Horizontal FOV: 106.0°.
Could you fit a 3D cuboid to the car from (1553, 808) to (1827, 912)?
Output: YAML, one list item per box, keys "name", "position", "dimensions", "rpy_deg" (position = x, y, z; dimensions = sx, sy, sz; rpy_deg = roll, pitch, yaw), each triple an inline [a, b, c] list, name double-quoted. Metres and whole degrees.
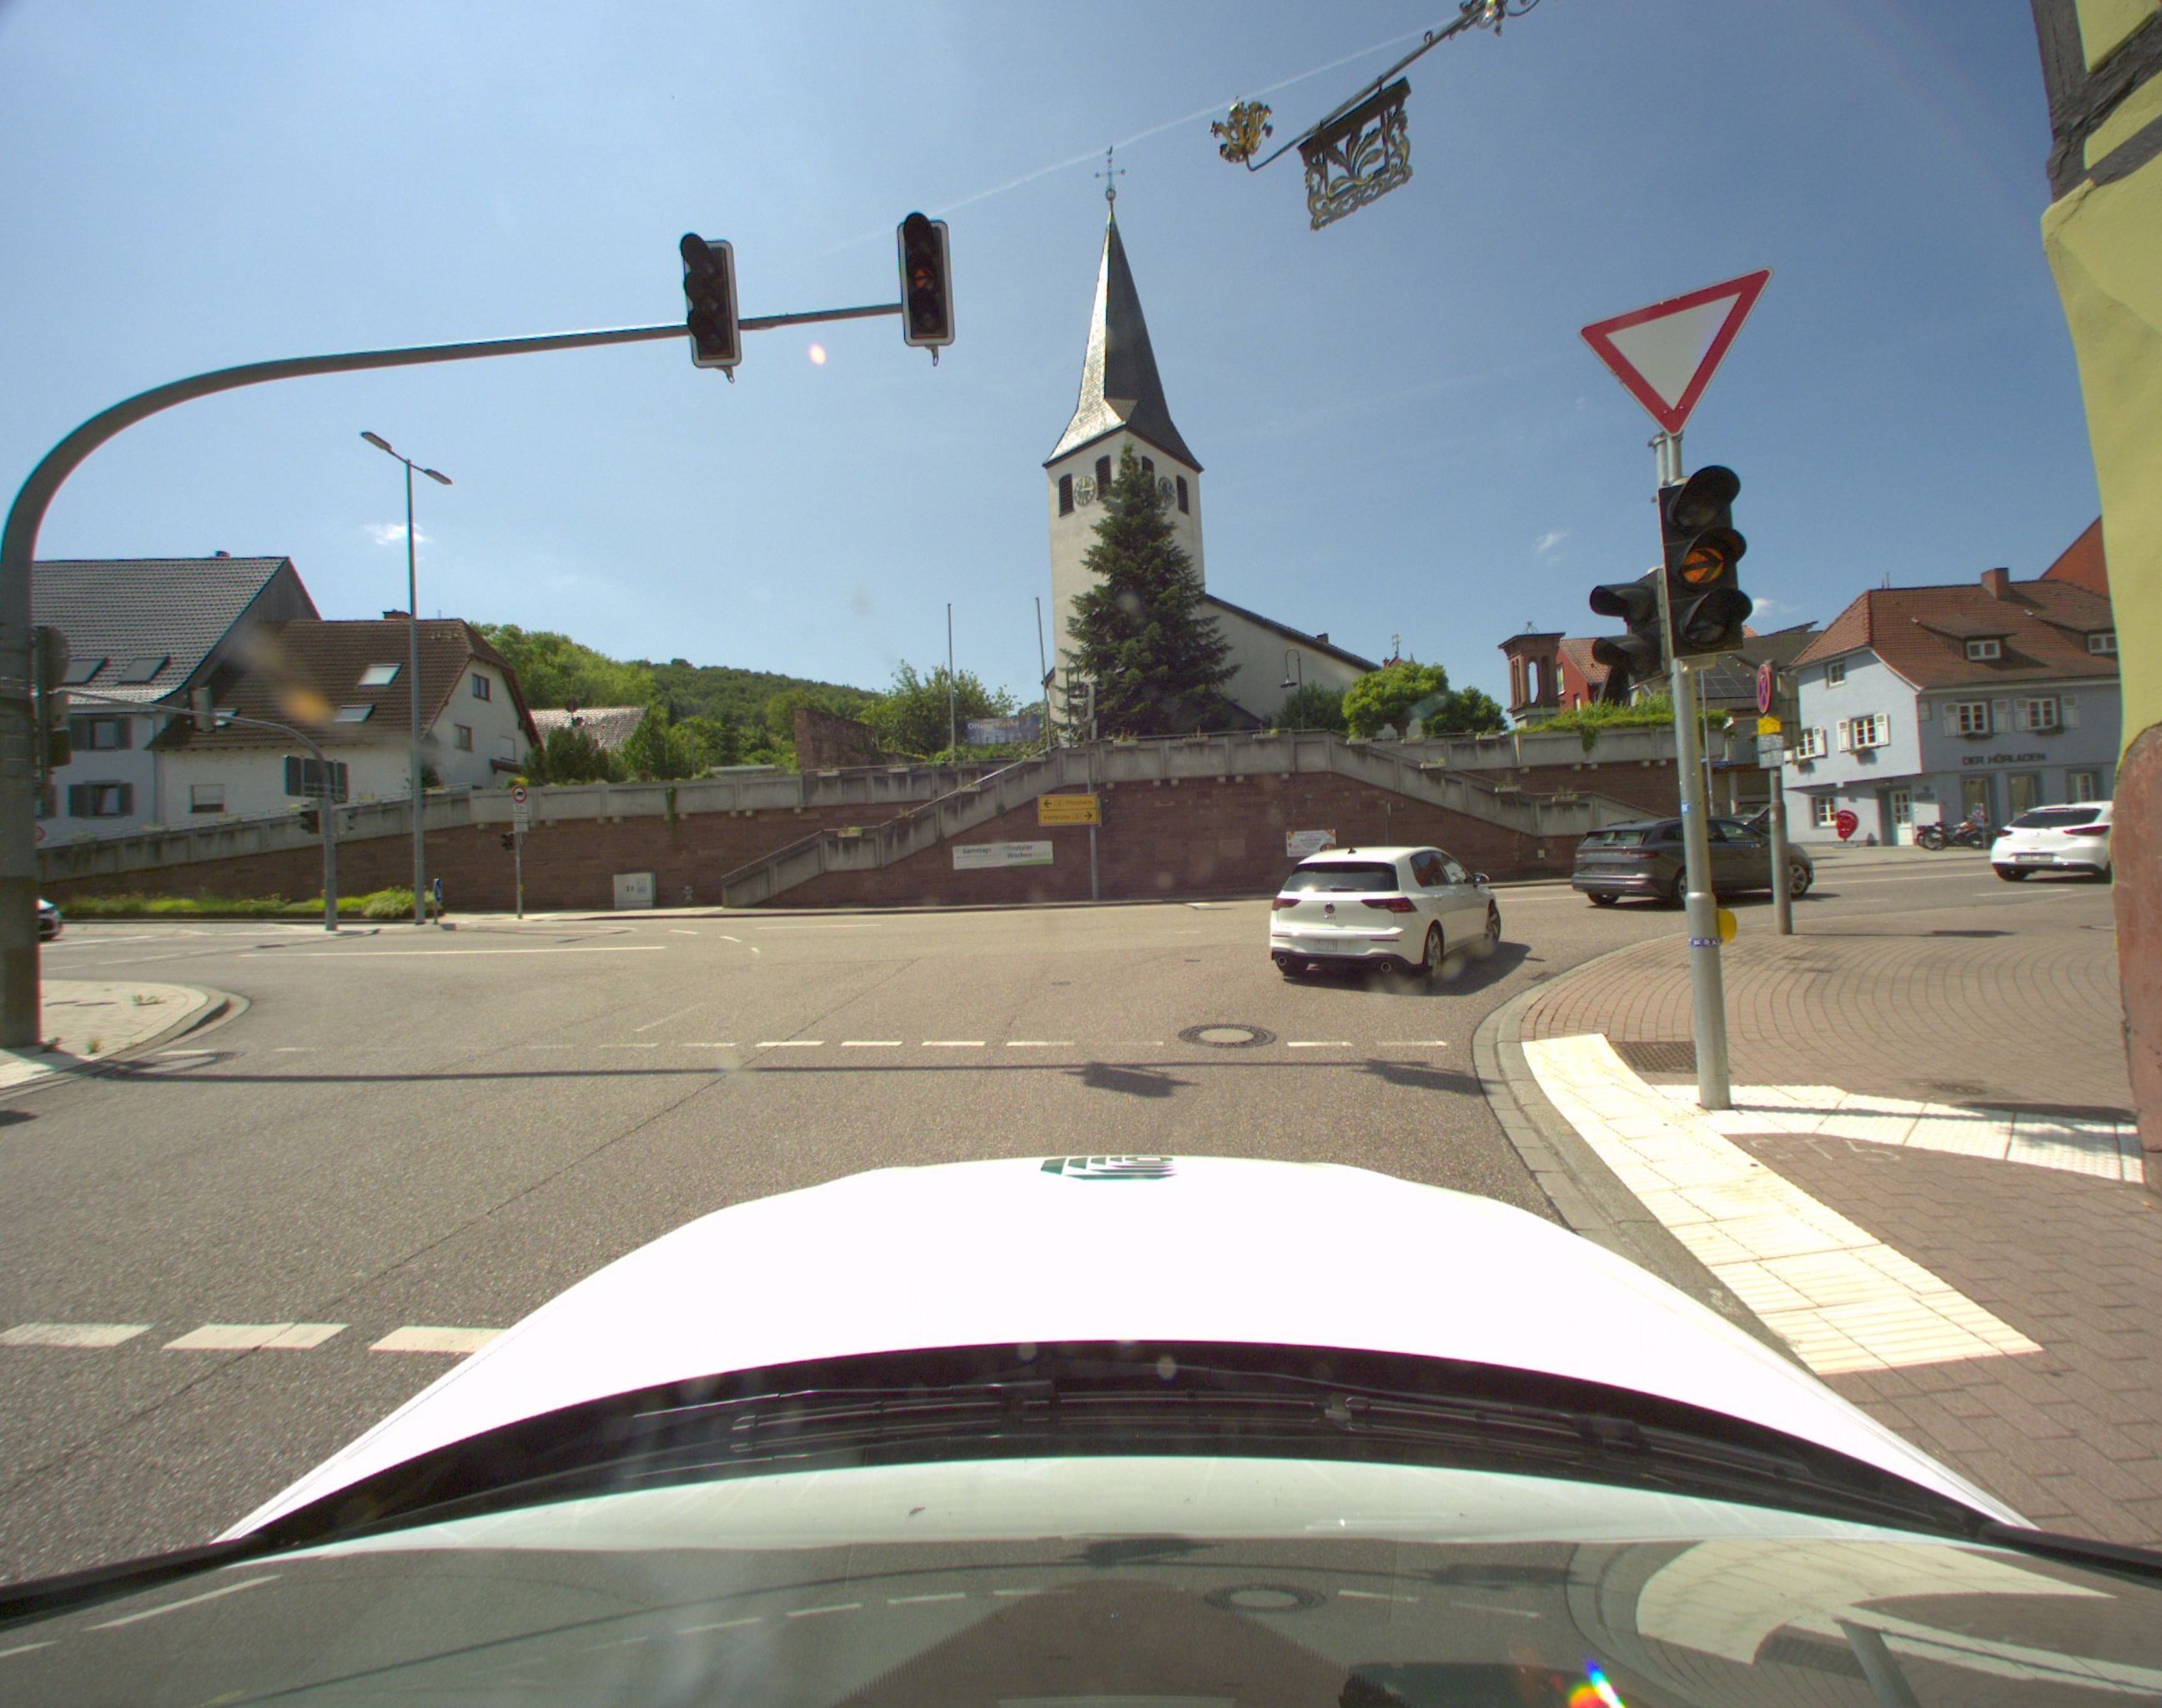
- name: "car"
  position: [11.437, 0.071, 15.346]
  dimensions: [4.323, 1.582, 1.944]
  rpy_deg: [-3, 1, -17]

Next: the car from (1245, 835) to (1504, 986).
- name: "car"
  position: [3.744, 0.548, 9.978]
  dimensions: [1.765, 1.458, 3.888]
  rpy_deg: [-3, -1, 39]

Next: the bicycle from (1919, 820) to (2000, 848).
- name: "bicycle"
  position: [30.153, -0.680, 27.990]
  dimensions: [1.799, 0.899, 0.627]
  rpy_deg: [-2, 1, 37]

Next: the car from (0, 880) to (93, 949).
- name: "car"
  position: [-26.402, 1.432, 19.307]
  dimensions: [3.966, 1.479, 1.868]
  rpy_deg: [-1, 1, 7]

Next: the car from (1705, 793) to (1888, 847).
- name: "car"
  position: [33.555, -1.547, 38.430]
  dimensions: [5.938, 2.014, 2.532]
  rpy_deg: [-3, -2, 11]

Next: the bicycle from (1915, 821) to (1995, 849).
- name: "bicycle"
  position: [30.567, -0.672, 28.517]
  dimensions: [1.799, 0.899, 0.653]
  rpy_deg: [-2, 1, 37]

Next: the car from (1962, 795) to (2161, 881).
- name: "car"
  position: [19.498, -0.321, 15.483]
  dimensions: [3.846, 1.458, 1.784]
  rpy_deg: [-3, -1, -7]
